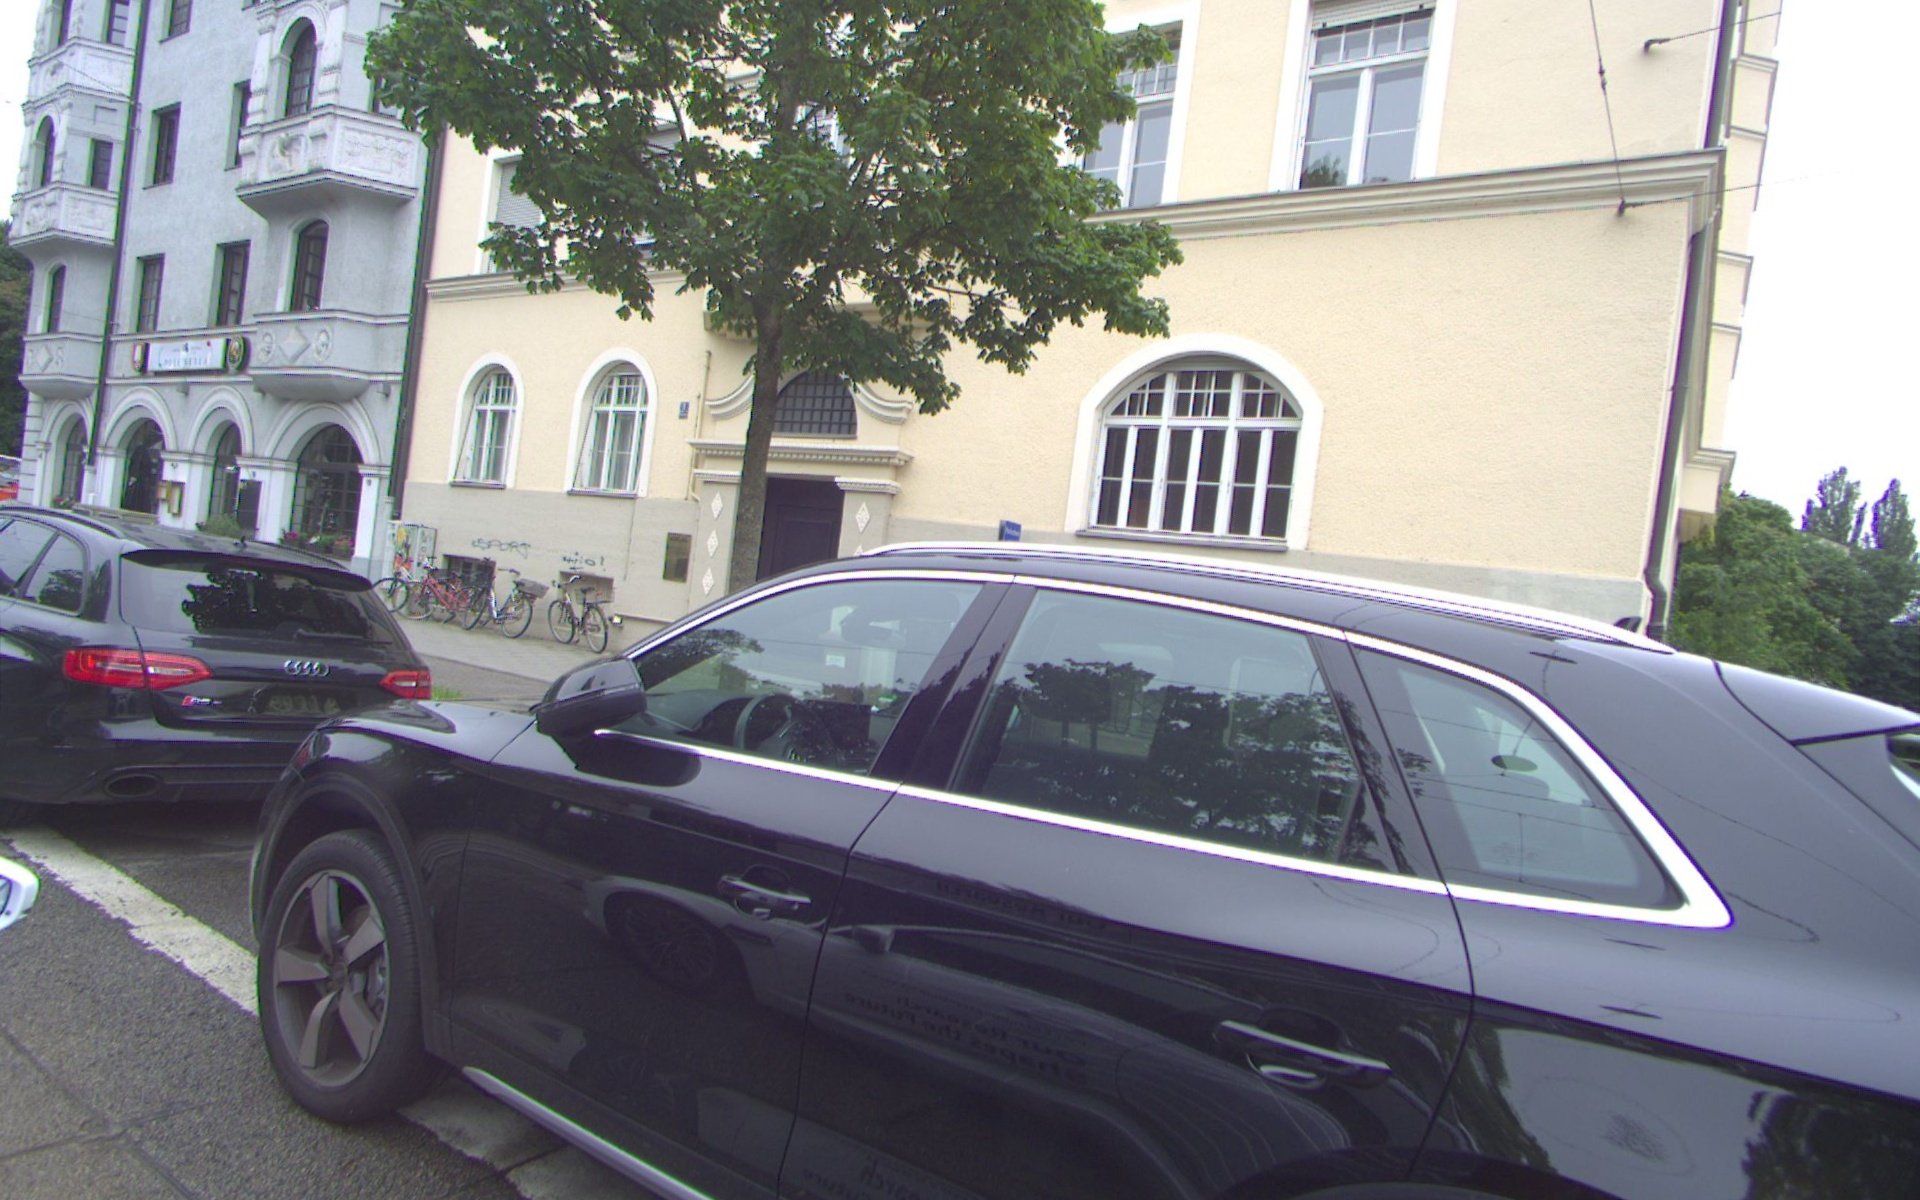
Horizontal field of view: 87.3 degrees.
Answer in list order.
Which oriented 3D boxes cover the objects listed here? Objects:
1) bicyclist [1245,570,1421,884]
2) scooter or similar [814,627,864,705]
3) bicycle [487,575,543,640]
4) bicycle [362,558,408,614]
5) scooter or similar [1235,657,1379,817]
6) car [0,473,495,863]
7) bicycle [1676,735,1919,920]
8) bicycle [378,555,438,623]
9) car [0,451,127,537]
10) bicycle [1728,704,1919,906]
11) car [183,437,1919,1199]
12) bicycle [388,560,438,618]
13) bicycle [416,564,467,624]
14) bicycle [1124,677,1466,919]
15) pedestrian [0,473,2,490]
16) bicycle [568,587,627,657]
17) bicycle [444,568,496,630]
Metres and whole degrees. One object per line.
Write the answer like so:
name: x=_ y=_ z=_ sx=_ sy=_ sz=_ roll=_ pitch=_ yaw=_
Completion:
bicyclist: x=2.333 y=0.759 z=6.263 sx=0.714 sy=1.749 sz=0.726 roll=7 pitch=-1 yaw=31
scooter or similar: x=-1.524 y=0.827 z=12.699 sx=0.413 sy=0.921 sz=0.348 roll=8 pitch=-1 yaw=11
bicycle: x=-7.180 y=0.119 z=16.215 sx=0.871 sy=0.941 sz=0.285 roll=7 pitch=-1 yaw=33
bicycle: x=-10.595 y=-0.259 z=18.522 sx=0.871 sy=0.941 sz=0.259 roll=7 pitch=-1 yaw=33
scooter or similar: x=3.302 y=1.284 z=9.612 sx=1.123 sy=1.328 sz=0.262 roll=7 pitch=-1 yaw=32
car: x=-4.878 y=0.134 z=5.693 sx=4.525 sy=1.442 sz=1.720 roll=7 pitch=-2 yaw=31
bicycle: x=6.546 y=1.736 z=7.850 sx=1.417 sy=1.119 sz=0.287 roll=7 pitch=0 yaw=24
bicycle: x=-9.540 y=-0.194 z=17.370 sx=1.203 sy=1.051 sz=0.242 roll=7 pitch=-1 yaw=32
car: x=-36.503 y=-4.258 z=39.393 sx=2.192 sy=2.642 sz=5.311 roll=7 pitch=-2 yaw=29
bicycle: x=6.943 y=1.578 z=7.719 sx=1.511 sy=1.327 sz=0.332 roll=7 pitch=-1 yaw=30
car: x=0.135 y=0.659 z=2.533 sx=4.414 sy=1.677 sz=1.777 roll=7 pitch=-2 yaw=32
bicycle: x=-9.811 y=-0.204 z=18.038 sx=0.871 sy=0.941 sz=0.291 roll=7 pitch=-1 yaw=33
bicycle: x=-9.031 y=-0.110 z=17.512 sx=0.871 sy=0.941 sz=0.306 roll=7 pitch=-1 yaw=34
bicycle: x=2.081 y=1.169 z=6.381 sx=1.880 sy=1.093 sz=0.579 roll=7 pitch=2 yaw=31
pedestrian: x=-28.233 y=-2.851 z=28.888 sx=0.829 sy=1.752 sz=0.706 roll=7 pitch=-1 yaw=32
bicycle: x=-5.489 y=0.327 z=15.221 sx=0.871 sy=0.941 sz=0.222 roll=7 pitch=-1 yaw=31
bicycle: x=-8.258 y=-0.015 z=16.958 sx=0.871 sy=0.941 sz=0.273 roll=7 pitch=-1 yaw=33
